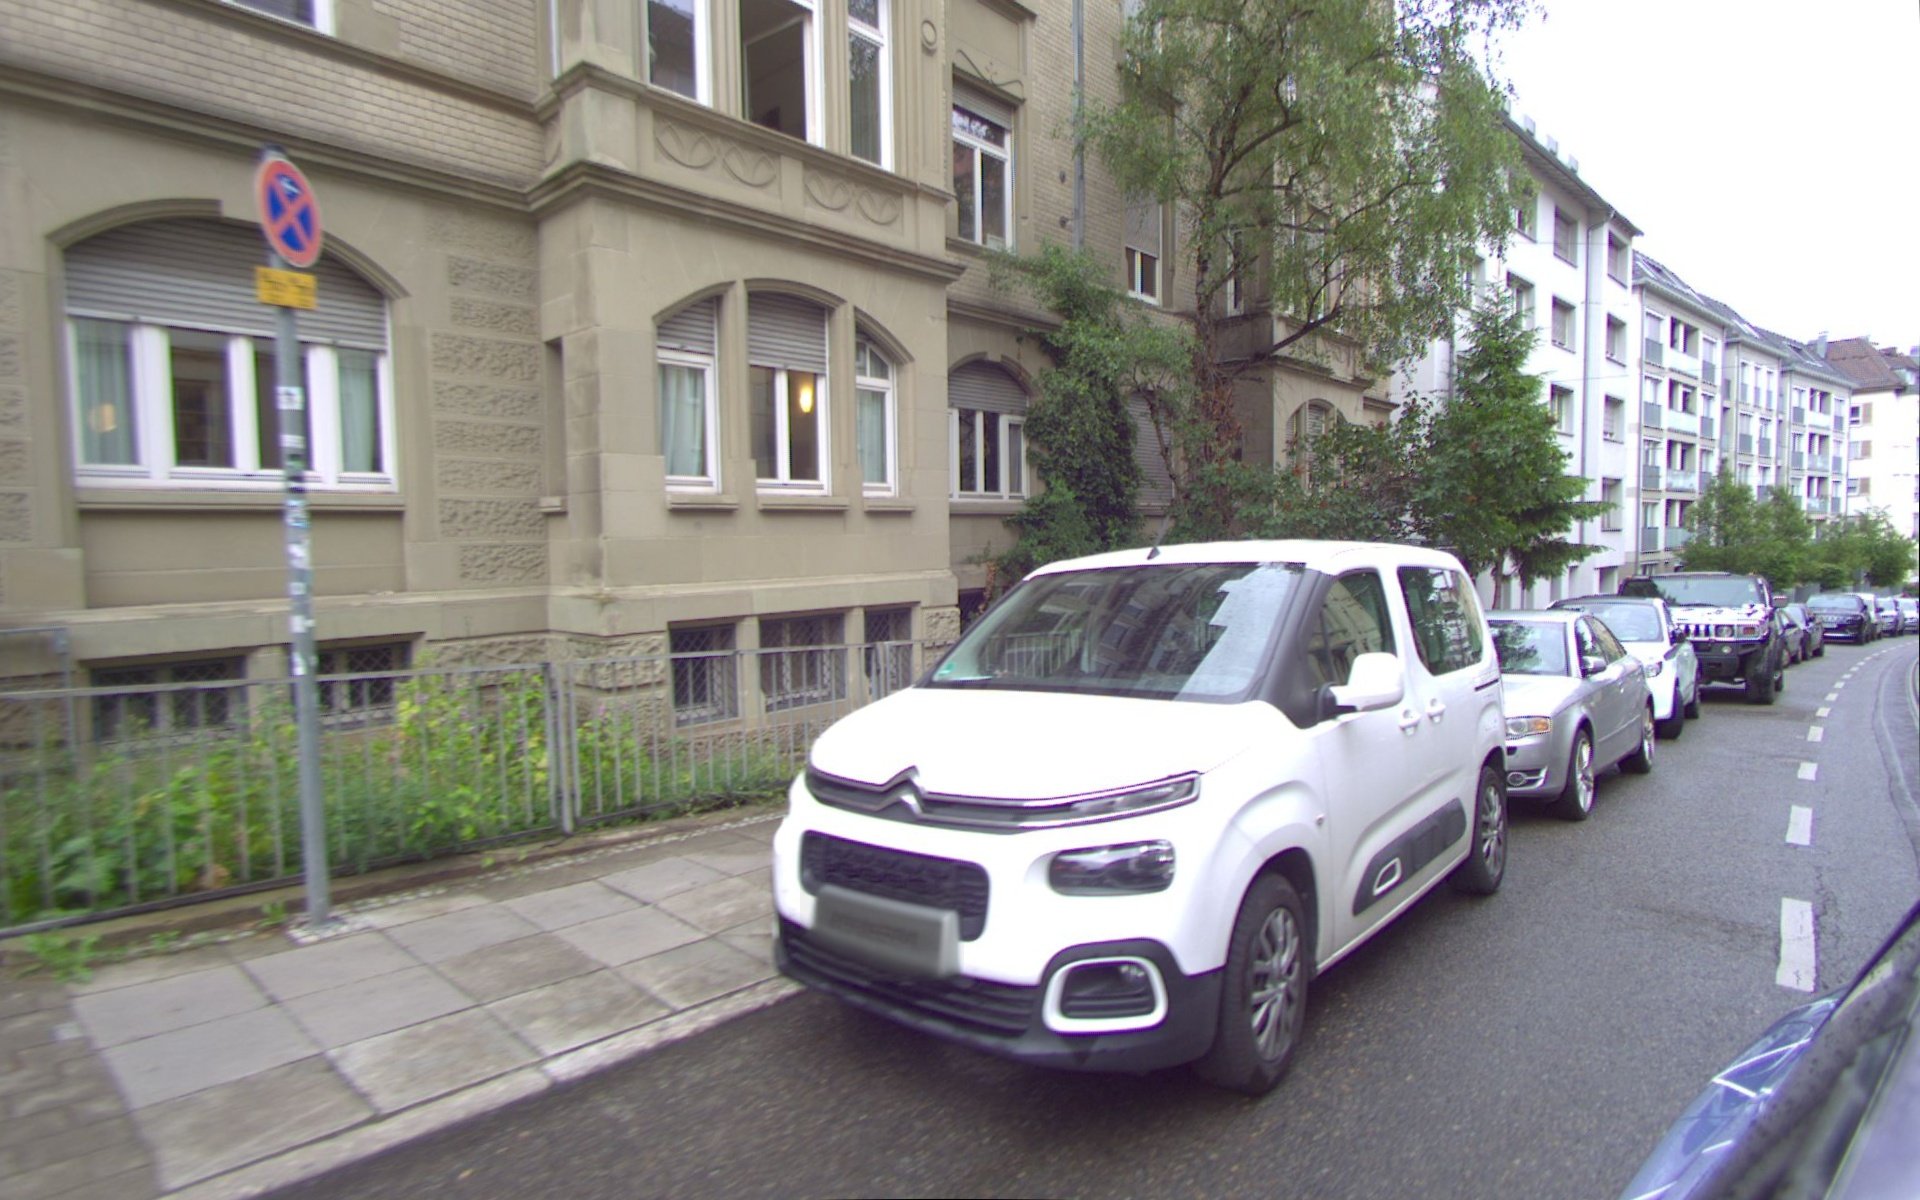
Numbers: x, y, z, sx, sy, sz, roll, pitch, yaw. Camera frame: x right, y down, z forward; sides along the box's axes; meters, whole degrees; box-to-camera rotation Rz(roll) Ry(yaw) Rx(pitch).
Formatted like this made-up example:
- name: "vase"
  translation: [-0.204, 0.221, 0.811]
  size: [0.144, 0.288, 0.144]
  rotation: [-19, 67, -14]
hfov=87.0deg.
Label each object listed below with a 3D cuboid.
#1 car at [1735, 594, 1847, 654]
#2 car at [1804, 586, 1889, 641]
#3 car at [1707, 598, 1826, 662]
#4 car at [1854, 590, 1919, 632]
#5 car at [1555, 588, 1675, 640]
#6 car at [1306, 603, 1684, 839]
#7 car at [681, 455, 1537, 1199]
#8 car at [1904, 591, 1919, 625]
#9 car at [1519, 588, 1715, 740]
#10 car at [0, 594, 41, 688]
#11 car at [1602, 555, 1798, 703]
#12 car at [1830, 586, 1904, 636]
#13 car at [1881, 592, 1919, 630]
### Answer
- name: "car"
  translation: [22.319, 0.584, 27.131]
  size: [4.534, 1.455, 1.796]
  rotation: [0, 1, -44]
- name: "car"
  translation: [31.716, 0.416, 36.162]
  size: [4.742, 1.817, 1.944]
  rotation: [-1, 1, -44]
- name: "car"
  translation: [19.007, 0.638, 23.801]
  size: [3.817, 1.355, 1.680]
  rotation: [0, 1, -44]
- name: "car"
  translation: [40.291, 0.426, 43.820]
  size: [4.606, 1.676, 1.835]
  rotation: [-1, 2, -42]
- name: "car"
  translation: [19.653, 0.388, 30.318]
  size: [4.077, 1.445, 1.817]
  rotation: [0, -1, -39]
- name: "car"
  translation: [4.663, 0.753, 8.461]
  size: [1.748, 1.418, 4.409]
  rotation: [0, 0, 42]
- name: "car"
  translation: [1.130, 0.553, 4.590]
  size: [1.795, 1.787, 4.397]
  rotation: [-1, 0, 41]
- name: "car"
  translation: [48.809, 0.397, 50.794]
  size: [1.975, 1.604, 4.493]
  rotation: [2, 2, 44]
- name: "car"
  translation: [8.068, 0.651, 12.299]
  size: [1.558, 1.565, 3.532]
  rotation: [-1, 0, 40]
- name: "car"
  translation: [-18.708, 0.570, 17.562]
  size: [3.932, 1.529, 1.797]
  rotation: [8, -1, -44]
- name: "car"
  translation: [12.260, 0.389, 16.601]
  size: [2.127, 2.039, 5.270]
  rotation: [-1, 0, 41]
- name: "car"
  translation: [35.681, 0.411, 39.785]
  size: [4.396, 1.817, 1.780]
  rotation: [0, 2, -43]
- name: "car"
  translation: [44.429, 0.477, 47.171]
  size: [4.585, 1.648, 1.834]
  rotation: [-1, 2, -43]
